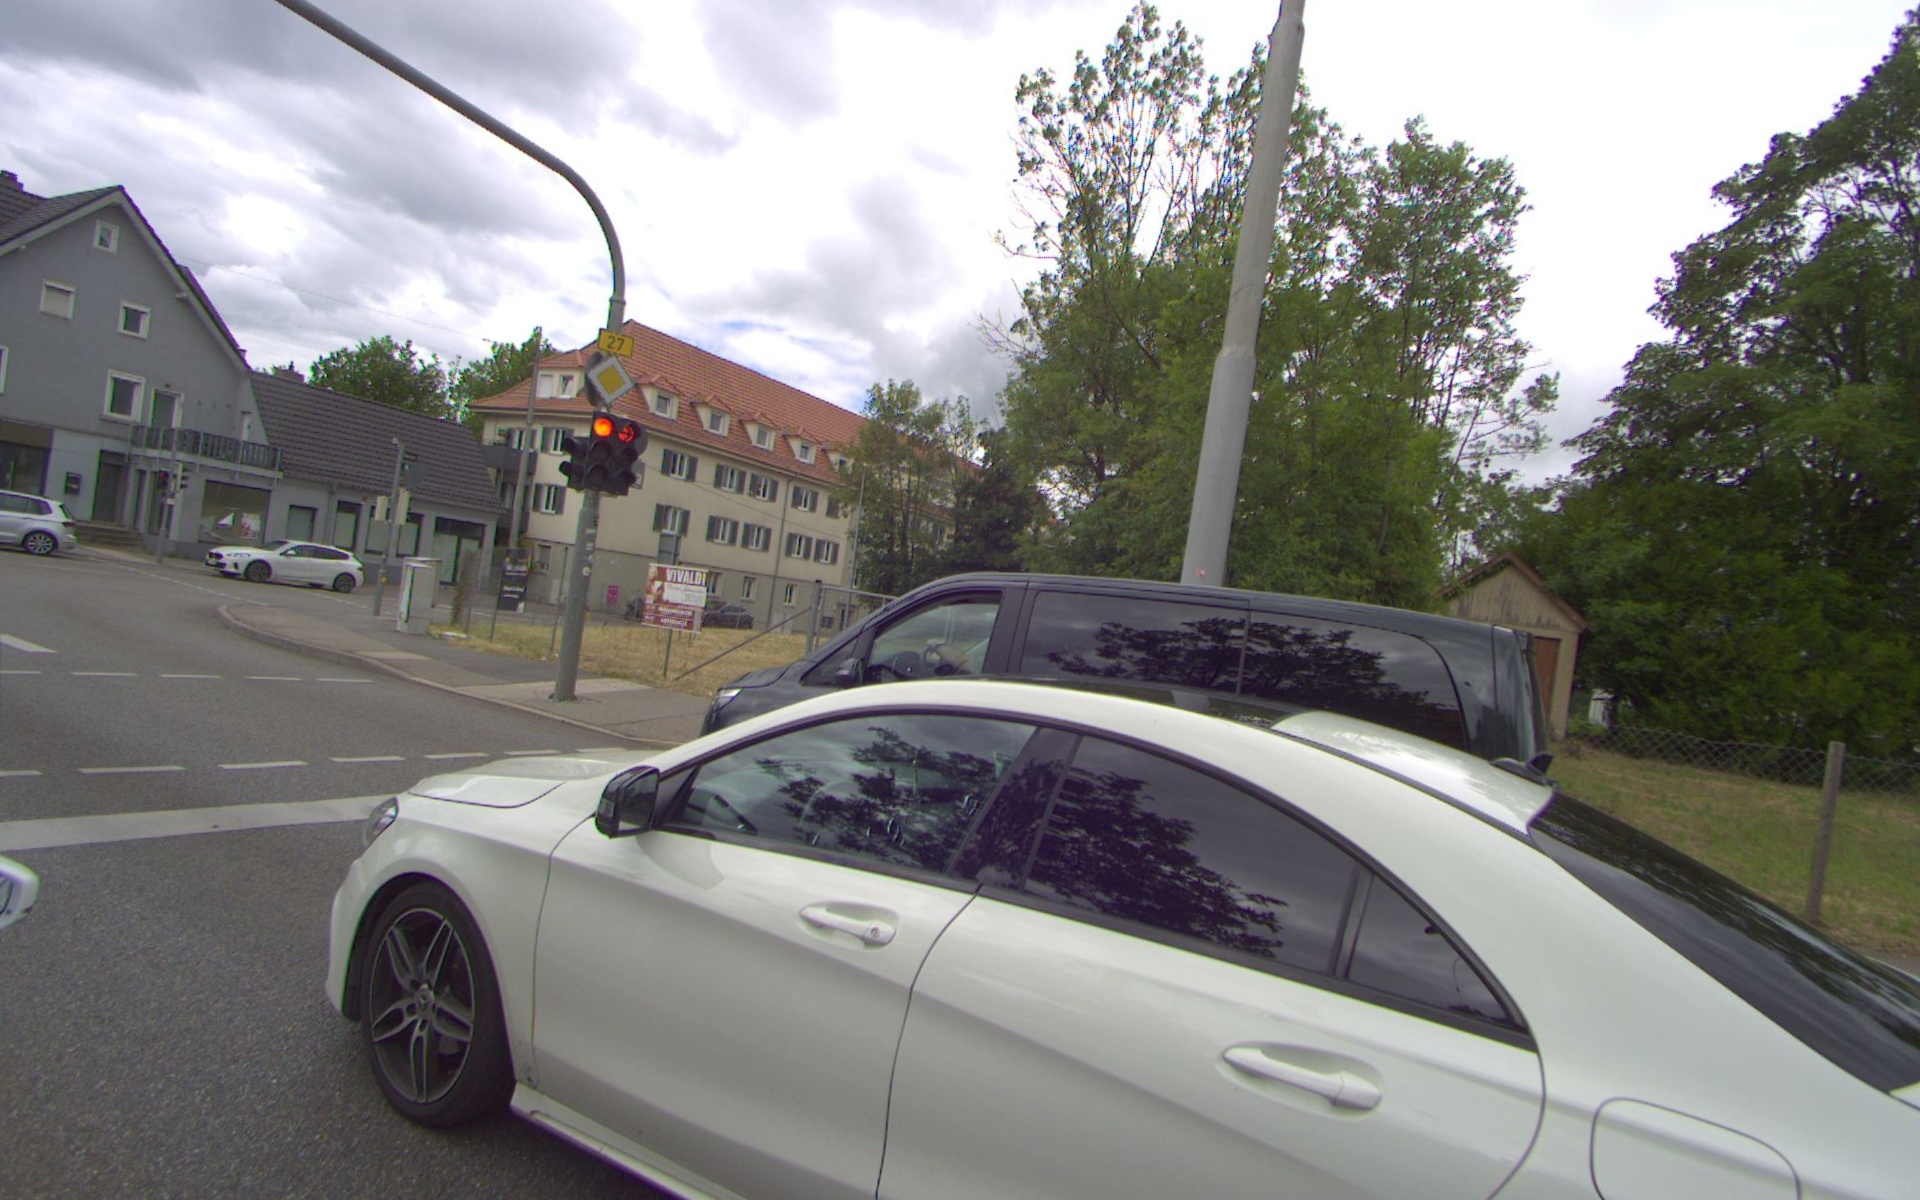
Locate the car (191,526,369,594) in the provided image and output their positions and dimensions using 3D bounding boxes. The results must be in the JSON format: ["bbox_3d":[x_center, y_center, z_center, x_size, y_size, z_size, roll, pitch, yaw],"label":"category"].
[{"bbox_3d":[-21.852,-1.259,32.518,1.965,1.494,4.255,7,-2,27],"label":"car"}]

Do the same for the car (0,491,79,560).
[{"bbox_3d":[-25.878,-2.180,26.205,1.804,1.557,4.098,6,-3,42],"label":"car"}]

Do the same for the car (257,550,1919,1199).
[{"bbox_3d":[0.164,0.844,2.643,4.305,1.451,1.651,7,0,32],"label":"car"}]

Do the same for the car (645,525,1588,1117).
[{"bbox_3d":[0.681,0.808,5.671,4.631,1.860,1.953,7,-2,32],"label":"car"}]

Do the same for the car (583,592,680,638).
[{"bbox_3d":[-15.514,0.738,47.663,1.839,1.554,3.996,7,-2,32],"label":"car"}]

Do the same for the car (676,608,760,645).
[{"bbox_3d":[-12.620,1.401,52.651,1.839,1.393,3.996,7,-2,32],"label":"car"}]
